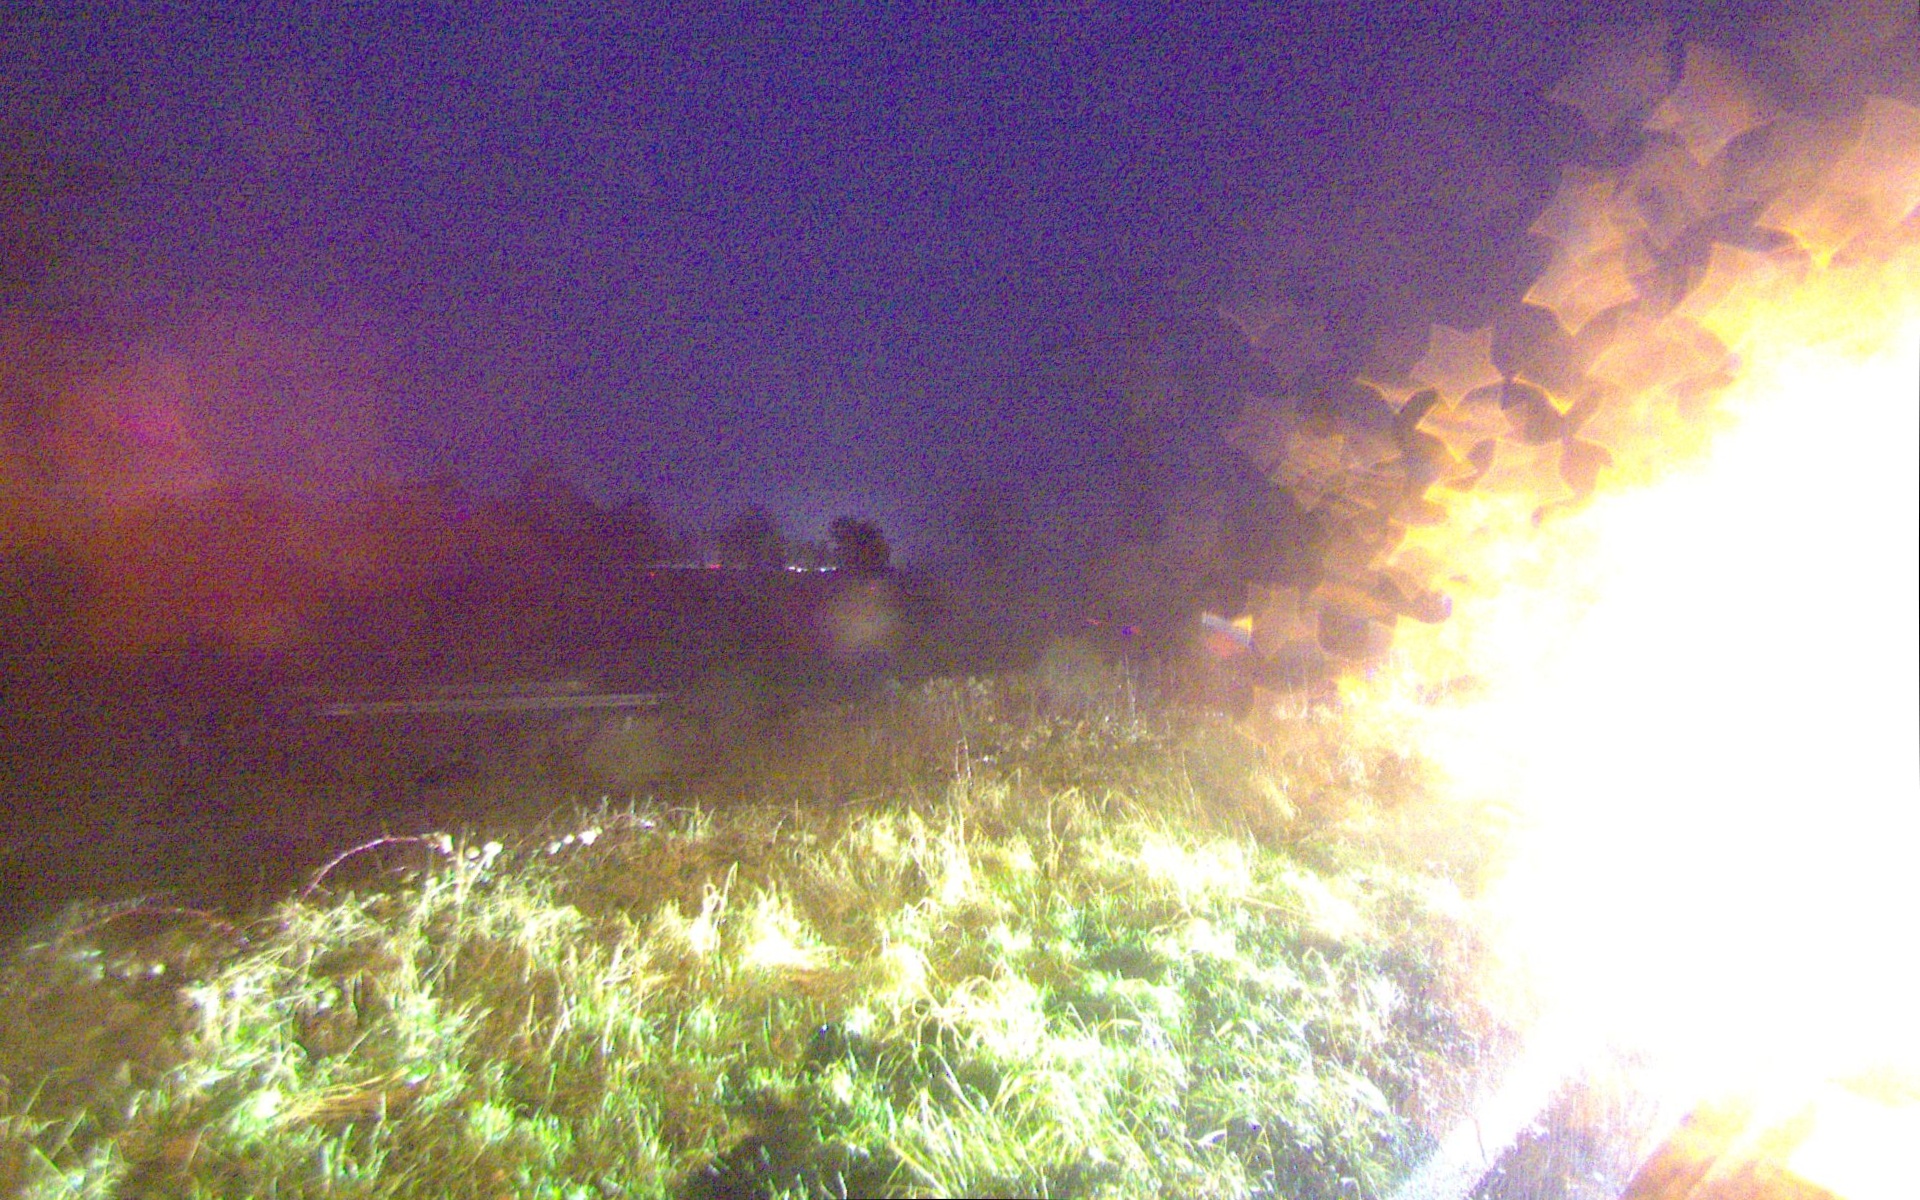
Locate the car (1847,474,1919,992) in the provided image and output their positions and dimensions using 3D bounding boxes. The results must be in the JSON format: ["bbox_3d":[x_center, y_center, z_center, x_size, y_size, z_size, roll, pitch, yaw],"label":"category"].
[{"bbox_3d":[5.692,0.482,4.744,4.298,1.949,1.999,-1,1,-44],"label":"car"}]
